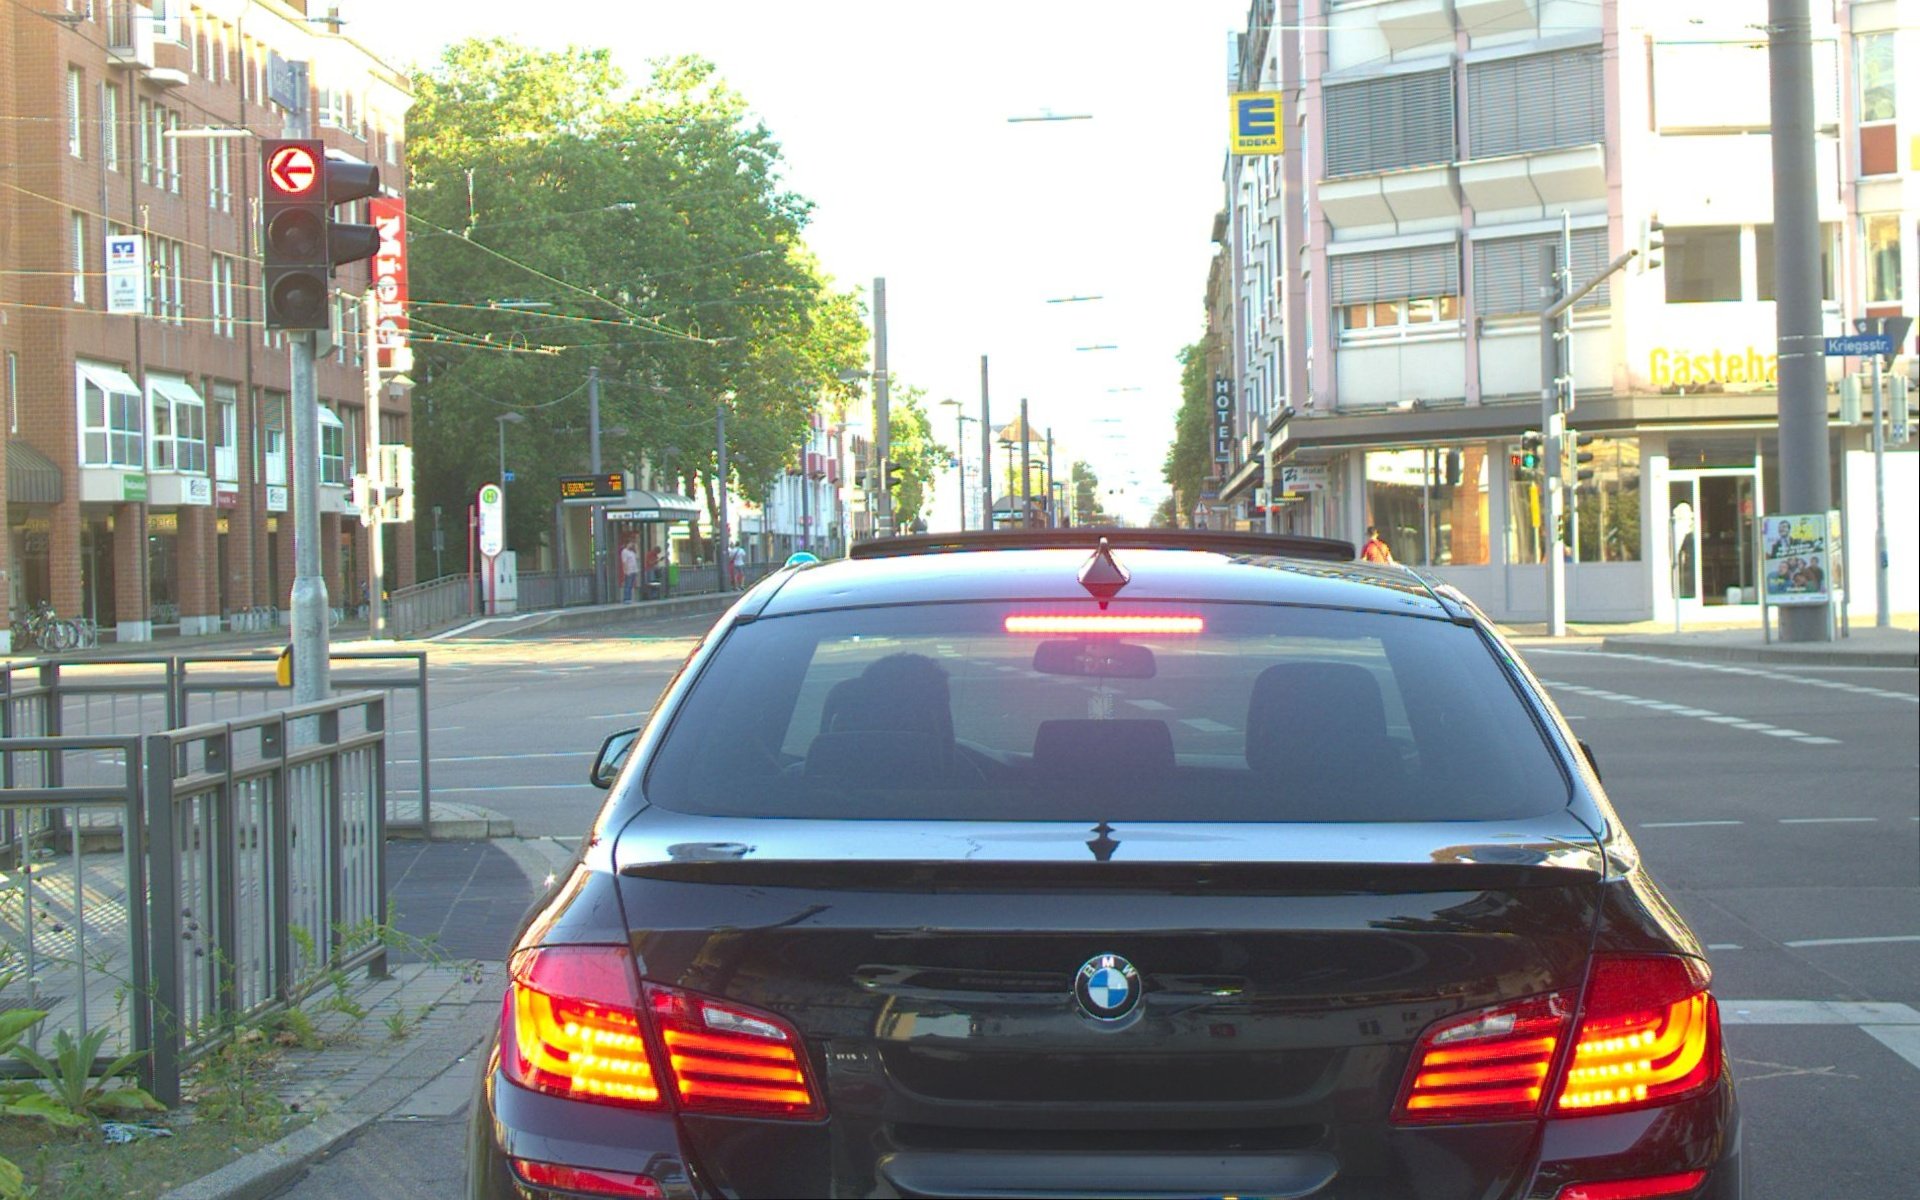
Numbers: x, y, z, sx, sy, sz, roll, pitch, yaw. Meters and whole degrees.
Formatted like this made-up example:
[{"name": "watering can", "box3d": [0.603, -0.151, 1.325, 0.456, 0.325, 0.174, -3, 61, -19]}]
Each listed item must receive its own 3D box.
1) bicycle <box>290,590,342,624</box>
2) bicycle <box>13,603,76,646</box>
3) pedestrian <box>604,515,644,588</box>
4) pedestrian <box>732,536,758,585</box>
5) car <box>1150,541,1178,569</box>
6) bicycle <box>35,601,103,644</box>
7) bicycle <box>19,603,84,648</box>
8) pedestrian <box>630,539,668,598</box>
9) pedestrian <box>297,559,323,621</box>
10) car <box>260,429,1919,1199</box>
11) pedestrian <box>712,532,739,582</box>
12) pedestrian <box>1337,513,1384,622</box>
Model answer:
[{"name": "bicycle", "box3d": [-17.898, 0.200, 95.557, 1.412, 0.919, 0.403, 0, 1, -10]}, {"name": "bicycle", "box3d": [-19.585, 0.526, 73.517, 1.285, 0.919, 0.349, 0, 1, -12]}, {"name": "pedestrian", "box3d": [-9.237, -1.331, 94.491, 0.988, 2.007, 0.726, 0, 1, 2]}, {"name": "pedestrian", "box3d": [-7.469, -1.378, 119.361, 0.723, 1.675, 0.991, -1, 1, 6]}, {"name": "car", "box3d": [11.511, -2.558, 194.172, 1.473, 1.509, 3.096, -1, 1, 2]}, {"name": "bicycle", "box3d": [-19.369, 0.497, 74.722, 1.412, 0.919, 0.444, 0, 1, -12]}, {"name": "bicycle", "box3d": [-19.217, 0.541, 72.726, 1.286, 0.919, 0.349, 0, 1, 0]}, {"name": "pedestrian", "box3d": [-9.002, -0.925, 99.566, 0.988, 1.675, 0.726, -1, 1, 2]}, {"name": "pedestrian", "box3d": [-17.931, -0.285, 94.854, 0.486, 1.675, 0.655, -1, 1, 7]}, {"name": "car", "box3d": [0.163, 0.561, 5.954, 1.993, 1.579, 4.000, 1, 1, -1]}, {"name": "pedestrian", "box3d": [-7.983, -1.467, 117.283, 0.723, 1.675, 0.991, -1, 1, 6]}, {"name": "pedestrian", "box3d": [6.849, -0.559, 58.791, 0.684, 1.848, 0.671, -1, 1, 0]}]
